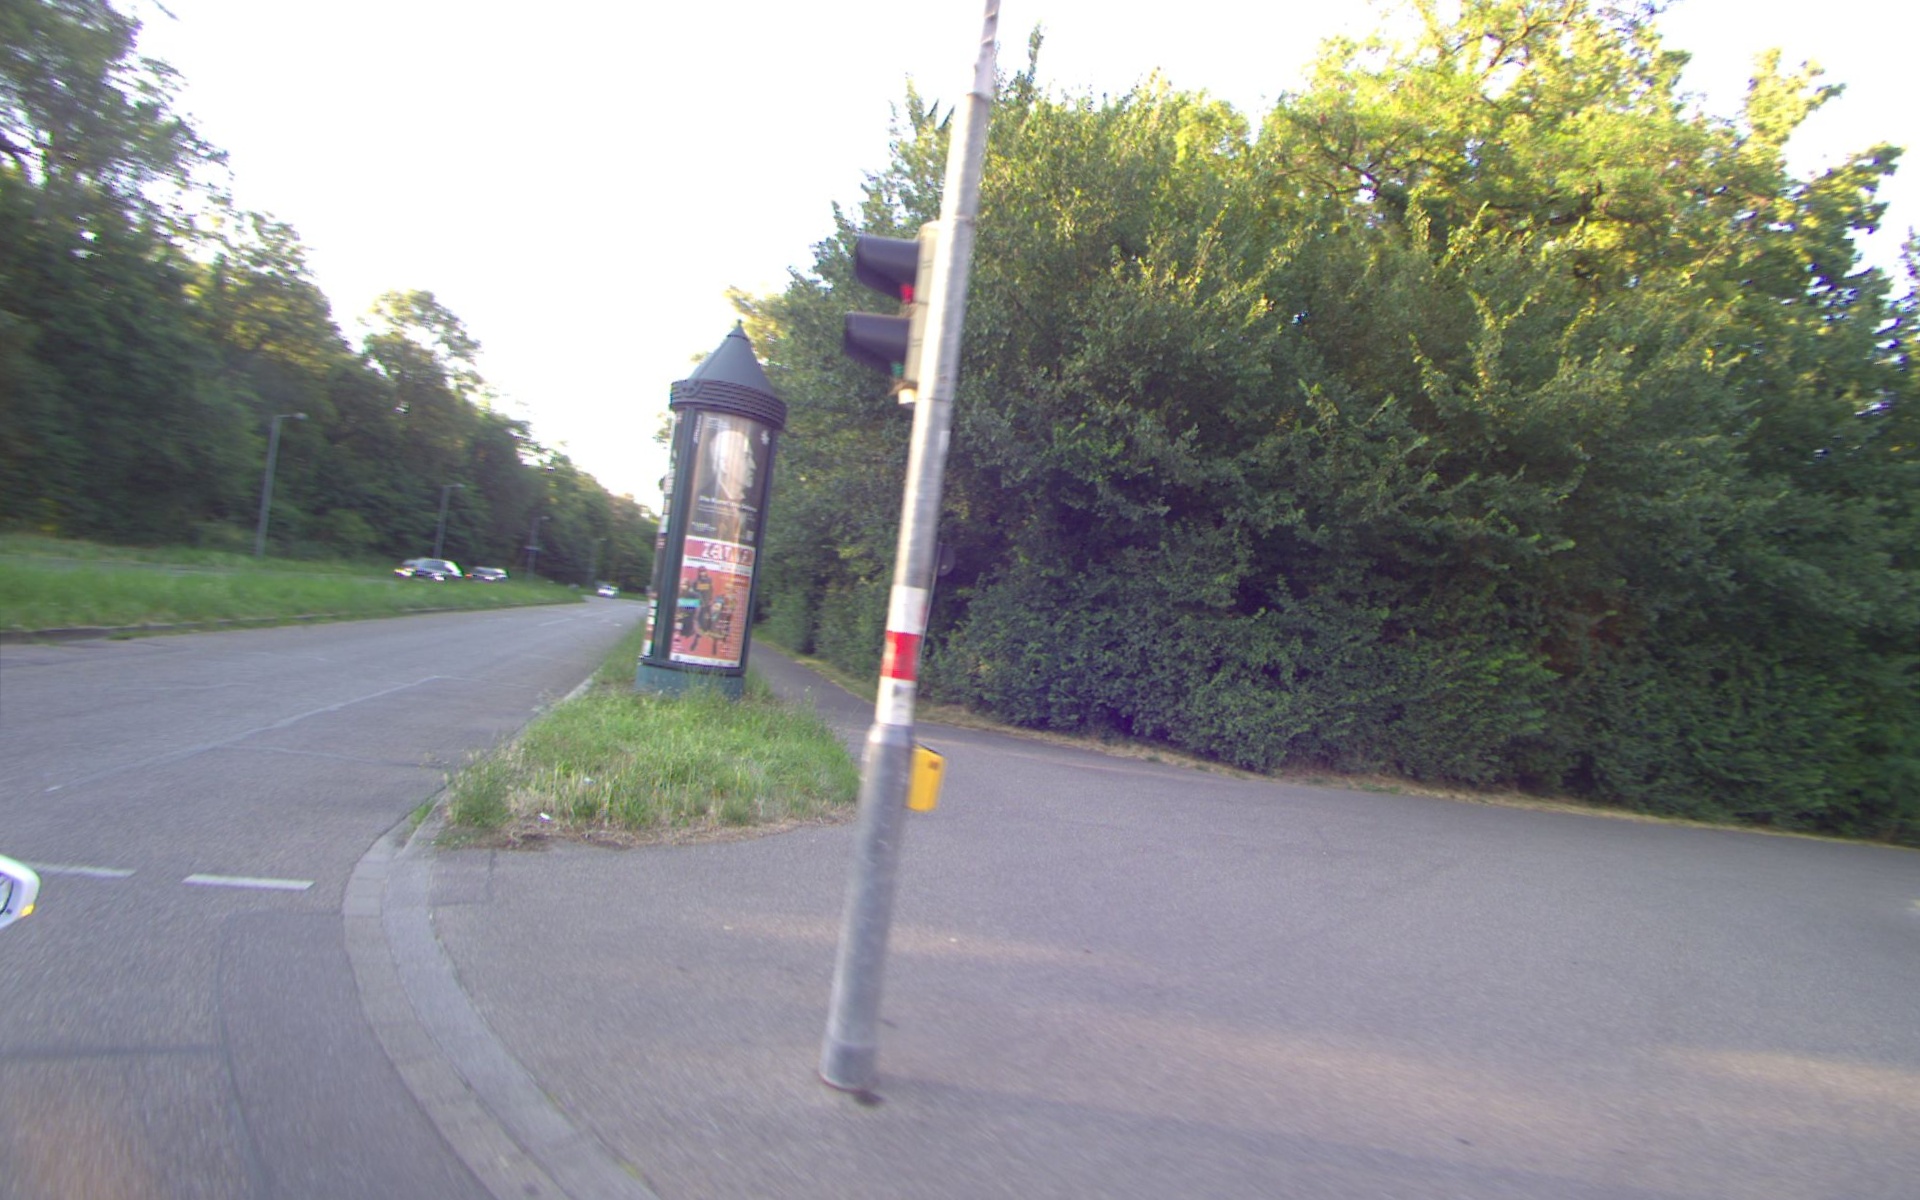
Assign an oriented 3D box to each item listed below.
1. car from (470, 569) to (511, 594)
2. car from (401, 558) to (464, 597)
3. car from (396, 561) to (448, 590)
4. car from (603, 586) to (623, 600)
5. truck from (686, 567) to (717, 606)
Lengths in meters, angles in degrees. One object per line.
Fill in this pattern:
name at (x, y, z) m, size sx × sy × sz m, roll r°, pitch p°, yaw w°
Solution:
car at (-36.142, -1.407, 77.480) m, size 1.969 × 1.647 × 4.638 m, roll 7°, pitch -1°, yaw -16°
car at (-26.744, -1.093, 51.130) m, size 1.791 × 1.647 × 4.439 m, roll 7°, pitch -1°, yaw -16°
car at (-33.320, -1.469, 62.419) m, size 1.801 × 1.497 × 4.221 m, roll 7°, pitch -1°, yaw -16°
car at (-44.608, -0.891, 129.484) m, size 1.969 × 1.474 × 3.805 m, roll 8°, pitch -3°, yaw -13°
truck at (-31.228, -1.555, 121.855) m, size 2.623 × 4.073 × 9.706 m, roll 8°, pitch -2°, yaw -11°
